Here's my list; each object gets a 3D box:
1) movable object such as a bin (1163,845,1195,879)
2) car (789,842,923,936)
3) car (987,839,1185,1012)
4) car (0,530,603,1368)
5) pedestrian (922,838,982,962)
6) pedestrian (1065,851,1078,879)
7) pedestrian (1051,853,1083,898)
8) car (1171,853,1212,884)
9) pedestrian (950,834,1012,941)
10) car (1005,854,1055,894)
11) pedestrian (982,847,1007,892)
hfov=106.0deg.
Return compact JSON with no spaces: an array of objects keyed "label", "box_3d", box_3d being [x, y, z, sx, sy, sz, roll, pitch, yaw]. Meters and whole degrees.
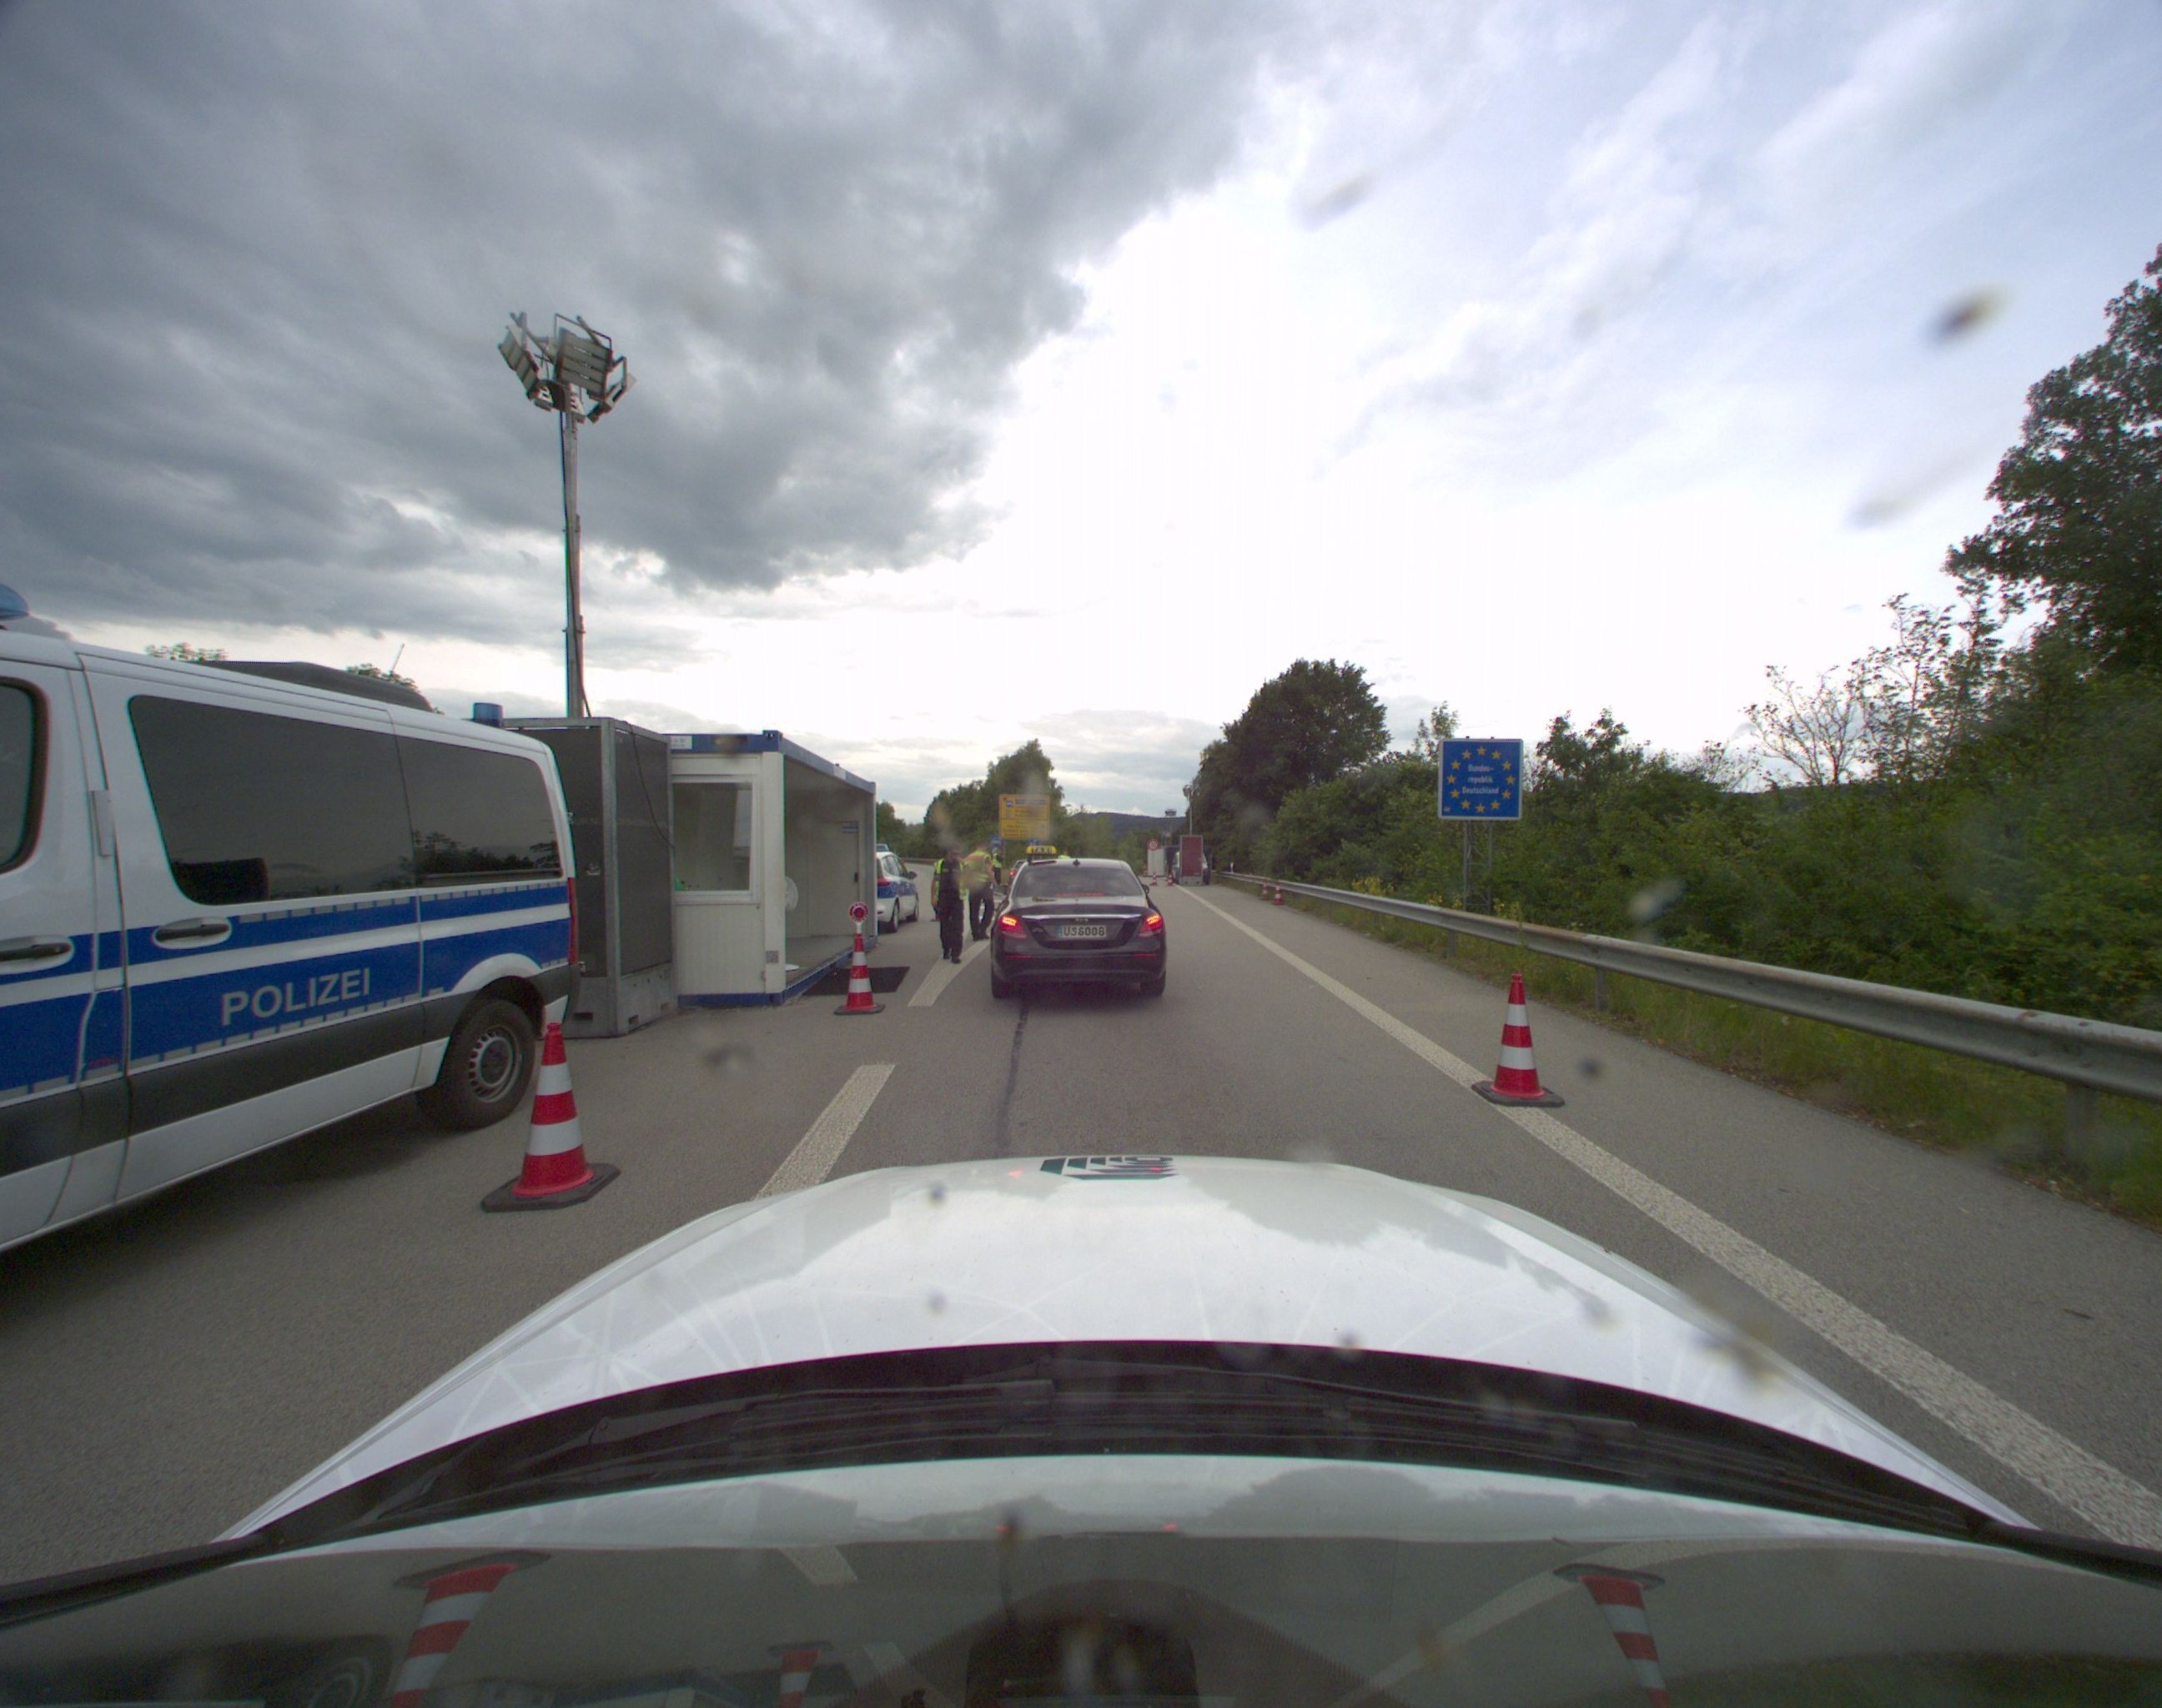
[{"label":"movable object such as a bin","box_3d":[6.810,0.522,56.798,1.985,2.280,4.172,0,0,4]},{"label":"car","box_3d":[-4.608,0.658,17.271,1.864,1.743,4.004,-1,0,-3]},{"label":"car","box_3d":[-0.067,0.665,9.831,1.851,1.595,4.370,-1,0,-3]},{"label":"car","box_3d":[-4.208,0.287,2.900,2.024,2.463,5.275,-1,0,-2]},{"label":"pedestrian","box_3d":[-1.840,0.638,11.719,0.758,1.718,0.817,-1,0,-4]},{"label":"pedestrian","box_3d":[-0.663,0.749,56.416,0.659,1.961,0.763,-1,-1,17]},{"label":"pedestrian","box_3d":[-0.541,0.807,31.208,0.914,1.698,0.905,0,-1,-30]},{"label":"car","box_3d":[6.440,0.811,47.956,1.908,1.678,5.087,1,0,3]},{"label":"pedestrian","box_3d":[-1.763,0.586,14.429,0.806,1.830,0.813,-1,-1,18]},{"label":"car","box_3d":[-2.003,0.749,33.070,1.850,1.498,4.254,-1,0,-1]},{"label":"pedestrian","box_3d":[-3.468,0.628,32.716,0.908,1.769,0.911,0,0,-2]}]
